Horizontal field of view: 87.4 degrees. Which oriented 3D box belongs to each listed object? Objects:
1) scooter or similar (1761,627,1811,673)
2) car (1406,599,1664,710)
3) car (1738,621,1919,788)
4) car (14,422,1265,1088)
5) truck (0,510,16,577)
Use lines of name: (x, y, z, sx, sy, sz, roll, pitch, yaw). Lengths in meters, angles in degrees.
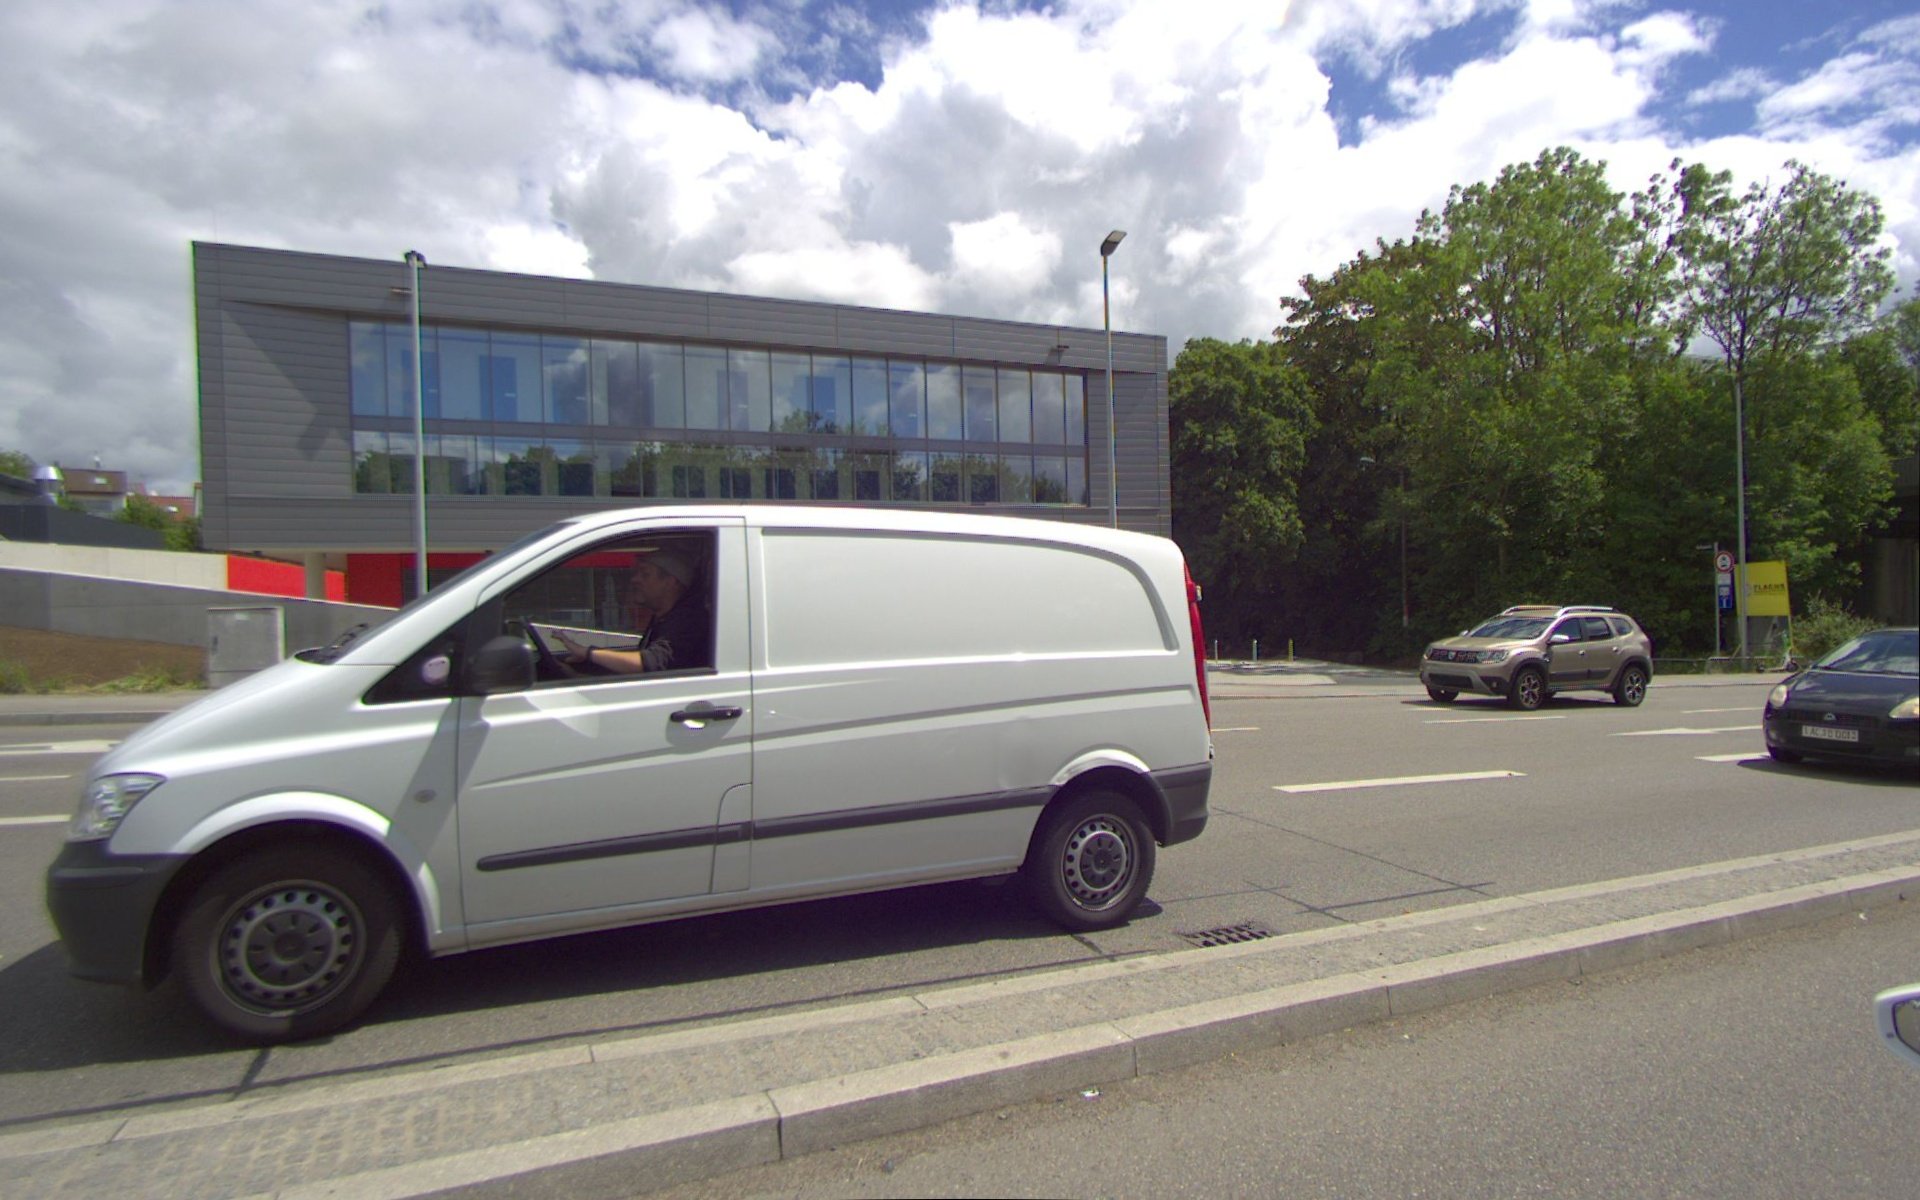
scooter or similar: (22.758, 1.367, 27.672, 1.244, 1.227, 0.609, 1, -1, -26)
car: (9.932, 0.908, 17.320, 4.213, 1.735, 1.726, 2, -1, -25)
car: (10.127, 0.985, 10.551, 3.726, 1.490, 1.632, 1, 0, -26)
car: (-1.017, 0.476, 4.783, 4.685, 1.950, 1.872, 1, 0, -25)
truck: (-34.496, -1.661, 31.869, 6.462, 2.174, 1.996, -4, 1, -10)
